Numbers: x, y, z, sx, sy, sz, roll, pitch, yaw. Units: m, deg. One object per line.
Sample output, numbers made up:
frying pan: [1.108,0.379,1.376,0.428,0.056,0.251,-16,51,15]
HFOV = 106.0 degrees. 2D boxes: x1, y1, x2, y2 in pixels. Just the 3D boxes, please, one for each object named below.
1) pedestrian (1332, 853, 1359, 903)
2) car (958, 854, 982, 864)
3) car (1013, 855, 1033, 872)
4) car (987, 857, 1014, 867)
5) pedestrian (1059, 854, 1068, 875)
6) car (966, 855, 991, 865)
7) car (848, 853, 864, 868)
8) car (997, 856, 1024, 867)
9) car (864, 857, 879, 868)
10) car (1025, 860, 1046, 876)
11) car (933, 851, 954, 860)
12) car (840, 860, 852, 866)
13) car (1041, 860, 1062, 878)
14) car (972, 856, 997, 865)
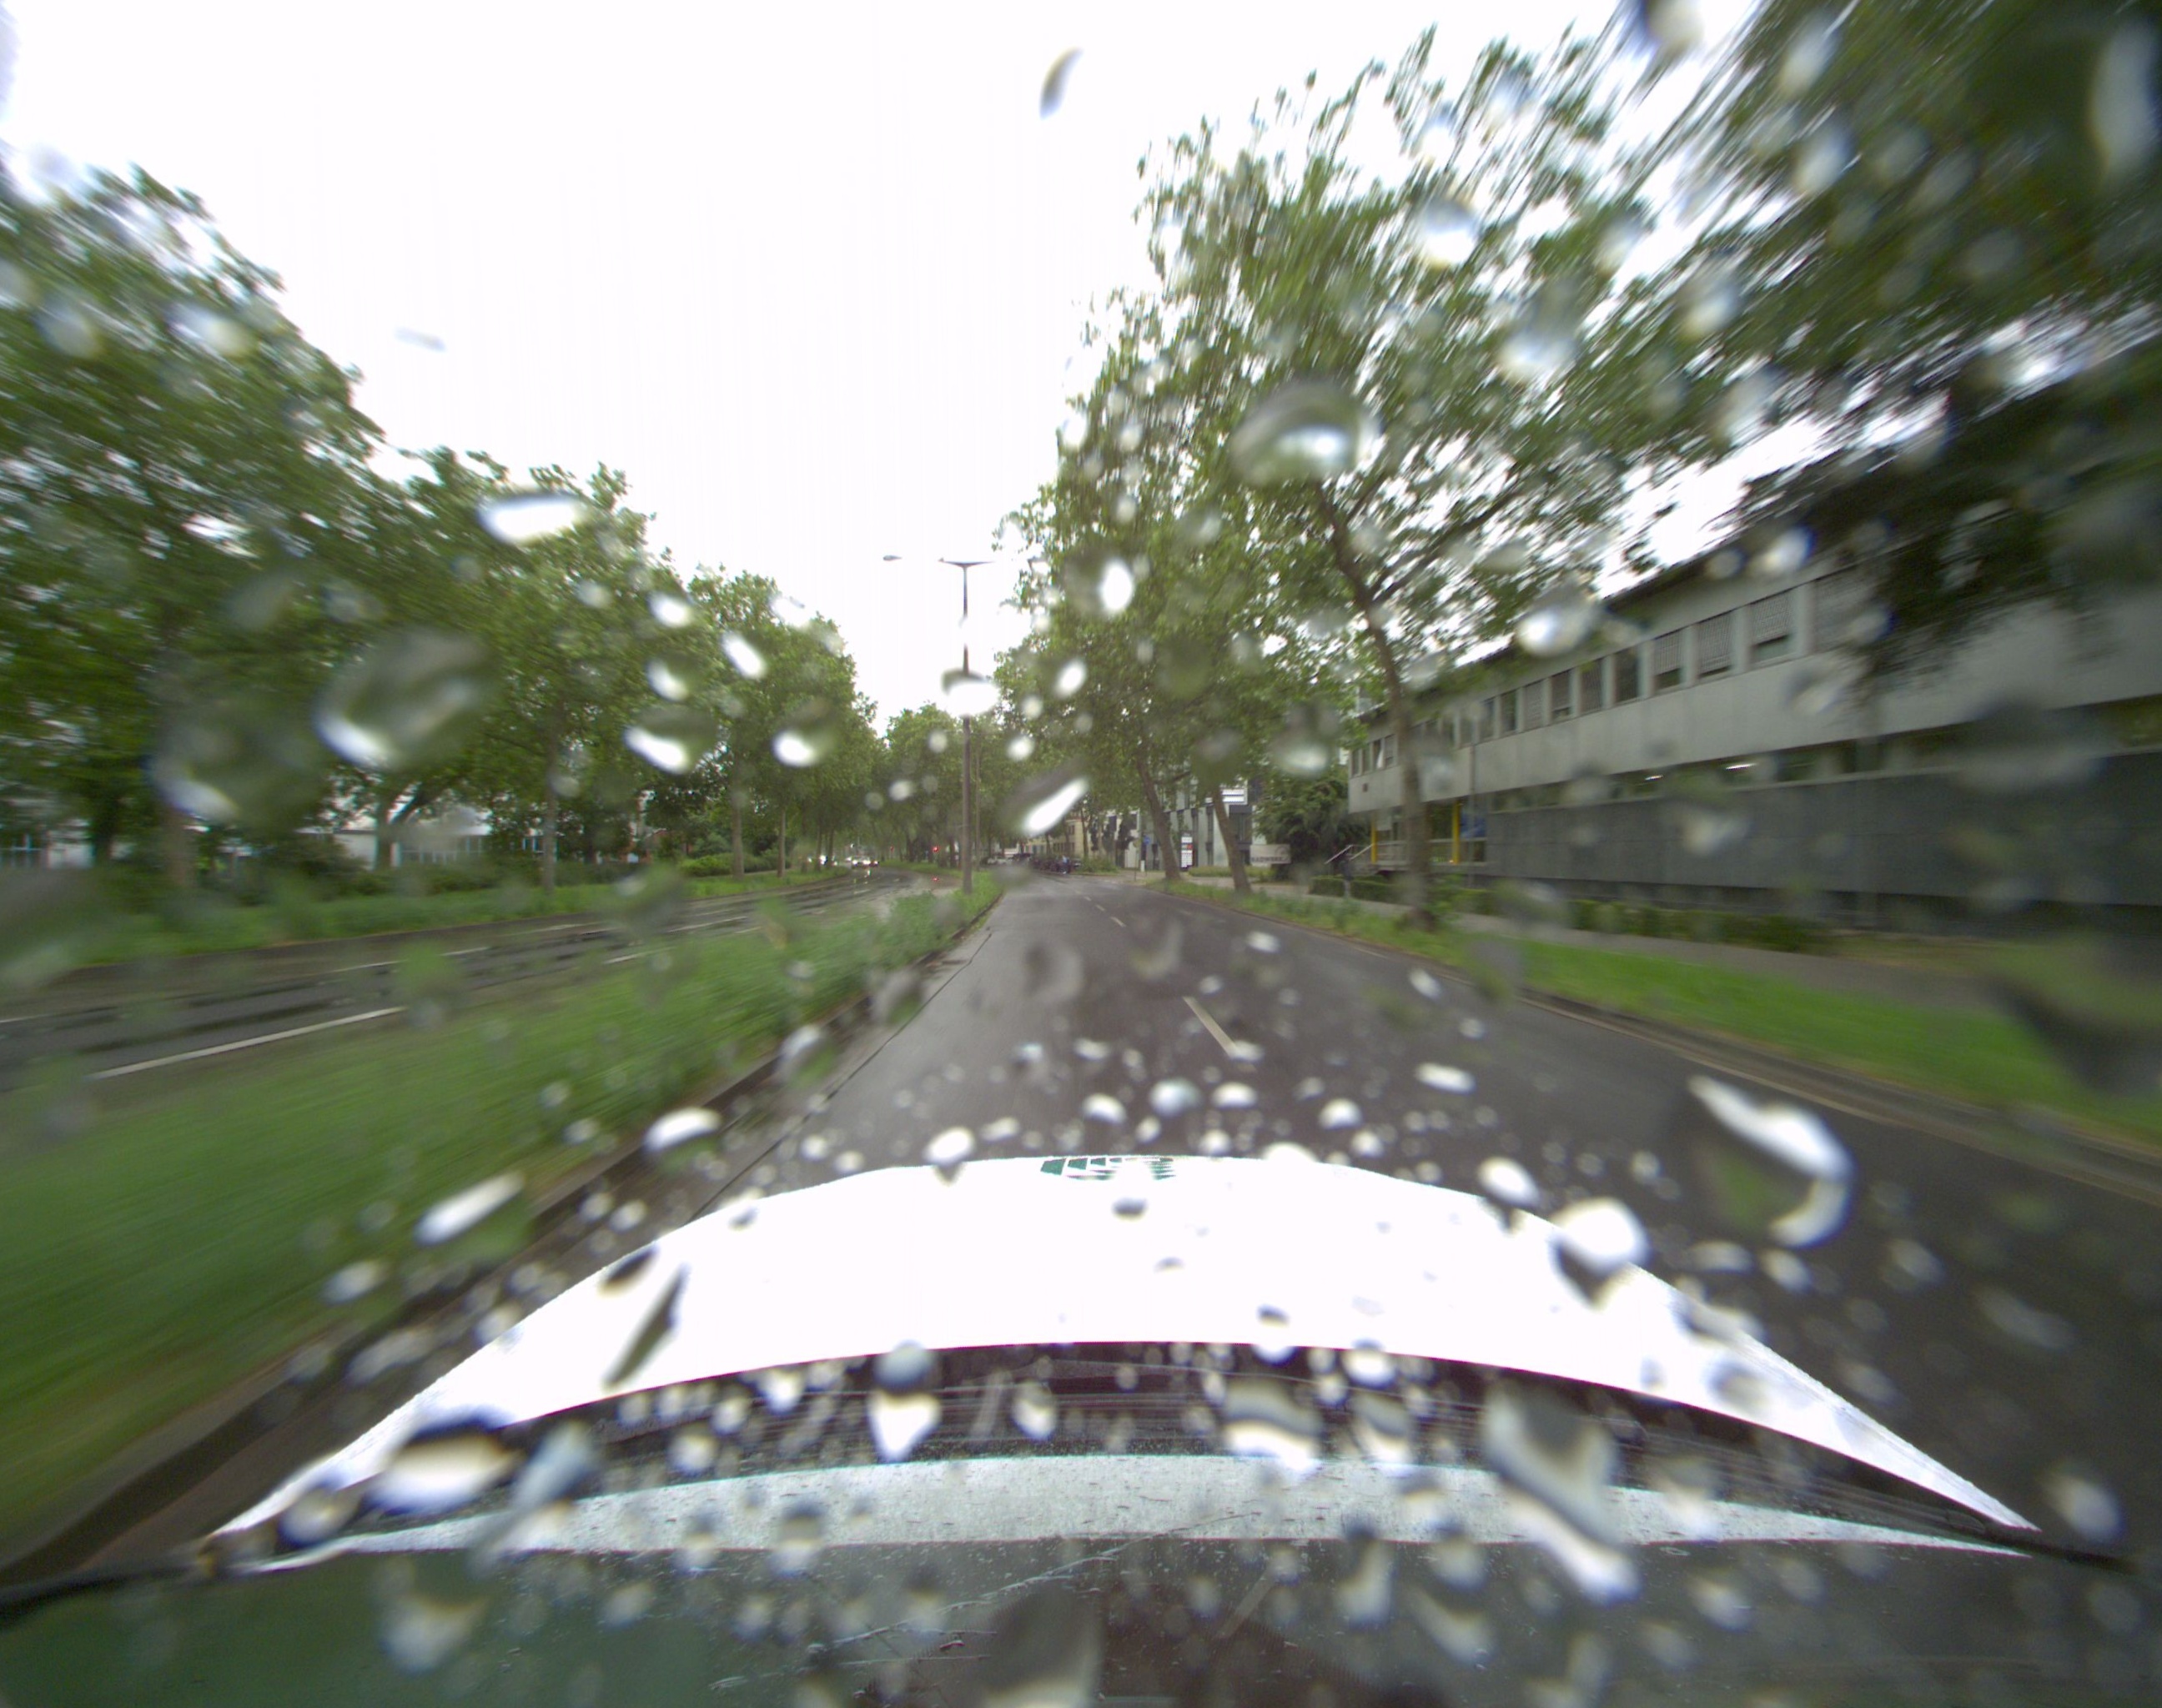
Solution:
pedestrian: [9.074,0.794,27.926,0.664,1.668,0.830,1,1,36]
car: [-20.384,0.960,149.512,4.005,1.820,1.984,0,1,-24]
car: [-7.803,1.258,109.349,2.125,2.088,3.981,0,1,-14]
car: [-12.953,1.267,130.797,3.886,1.493,1.872,0,1,-25]
pedestrian: [-1.636,0.976,76.164,0.702,1.950,0.860,1,1,12]
car: [-18.130,1.065,144.375,4.009,1.831,1.982,0,1,-28]
car: [-32.621,0.906,118.221,1.987,2.013,3.975,0,1,-19]
car: [-11.079,1.115,127.114,3.880,1.651,1.876,0,1,-20]
car: [-34.334,1.388,133.352,2.001,1.716,3.972,0,1,-21]
car: [-5.454,1.646,97.586,1.995,1.782,3.984,0,1,-12]
car: [-29.129,0.245,172.189,4.005,1.820,1.984,0,1,-24]
car: [-50.780,1.892,175.837,1.773,1.226,3.749,0,1,-28]
car: [-3.316,1.656,90.709,1.992,1.782,3.990,0,1,-7]
car: [-16.509,1.069,139.525,3.886,1.504,1.872,0,1,-25]
